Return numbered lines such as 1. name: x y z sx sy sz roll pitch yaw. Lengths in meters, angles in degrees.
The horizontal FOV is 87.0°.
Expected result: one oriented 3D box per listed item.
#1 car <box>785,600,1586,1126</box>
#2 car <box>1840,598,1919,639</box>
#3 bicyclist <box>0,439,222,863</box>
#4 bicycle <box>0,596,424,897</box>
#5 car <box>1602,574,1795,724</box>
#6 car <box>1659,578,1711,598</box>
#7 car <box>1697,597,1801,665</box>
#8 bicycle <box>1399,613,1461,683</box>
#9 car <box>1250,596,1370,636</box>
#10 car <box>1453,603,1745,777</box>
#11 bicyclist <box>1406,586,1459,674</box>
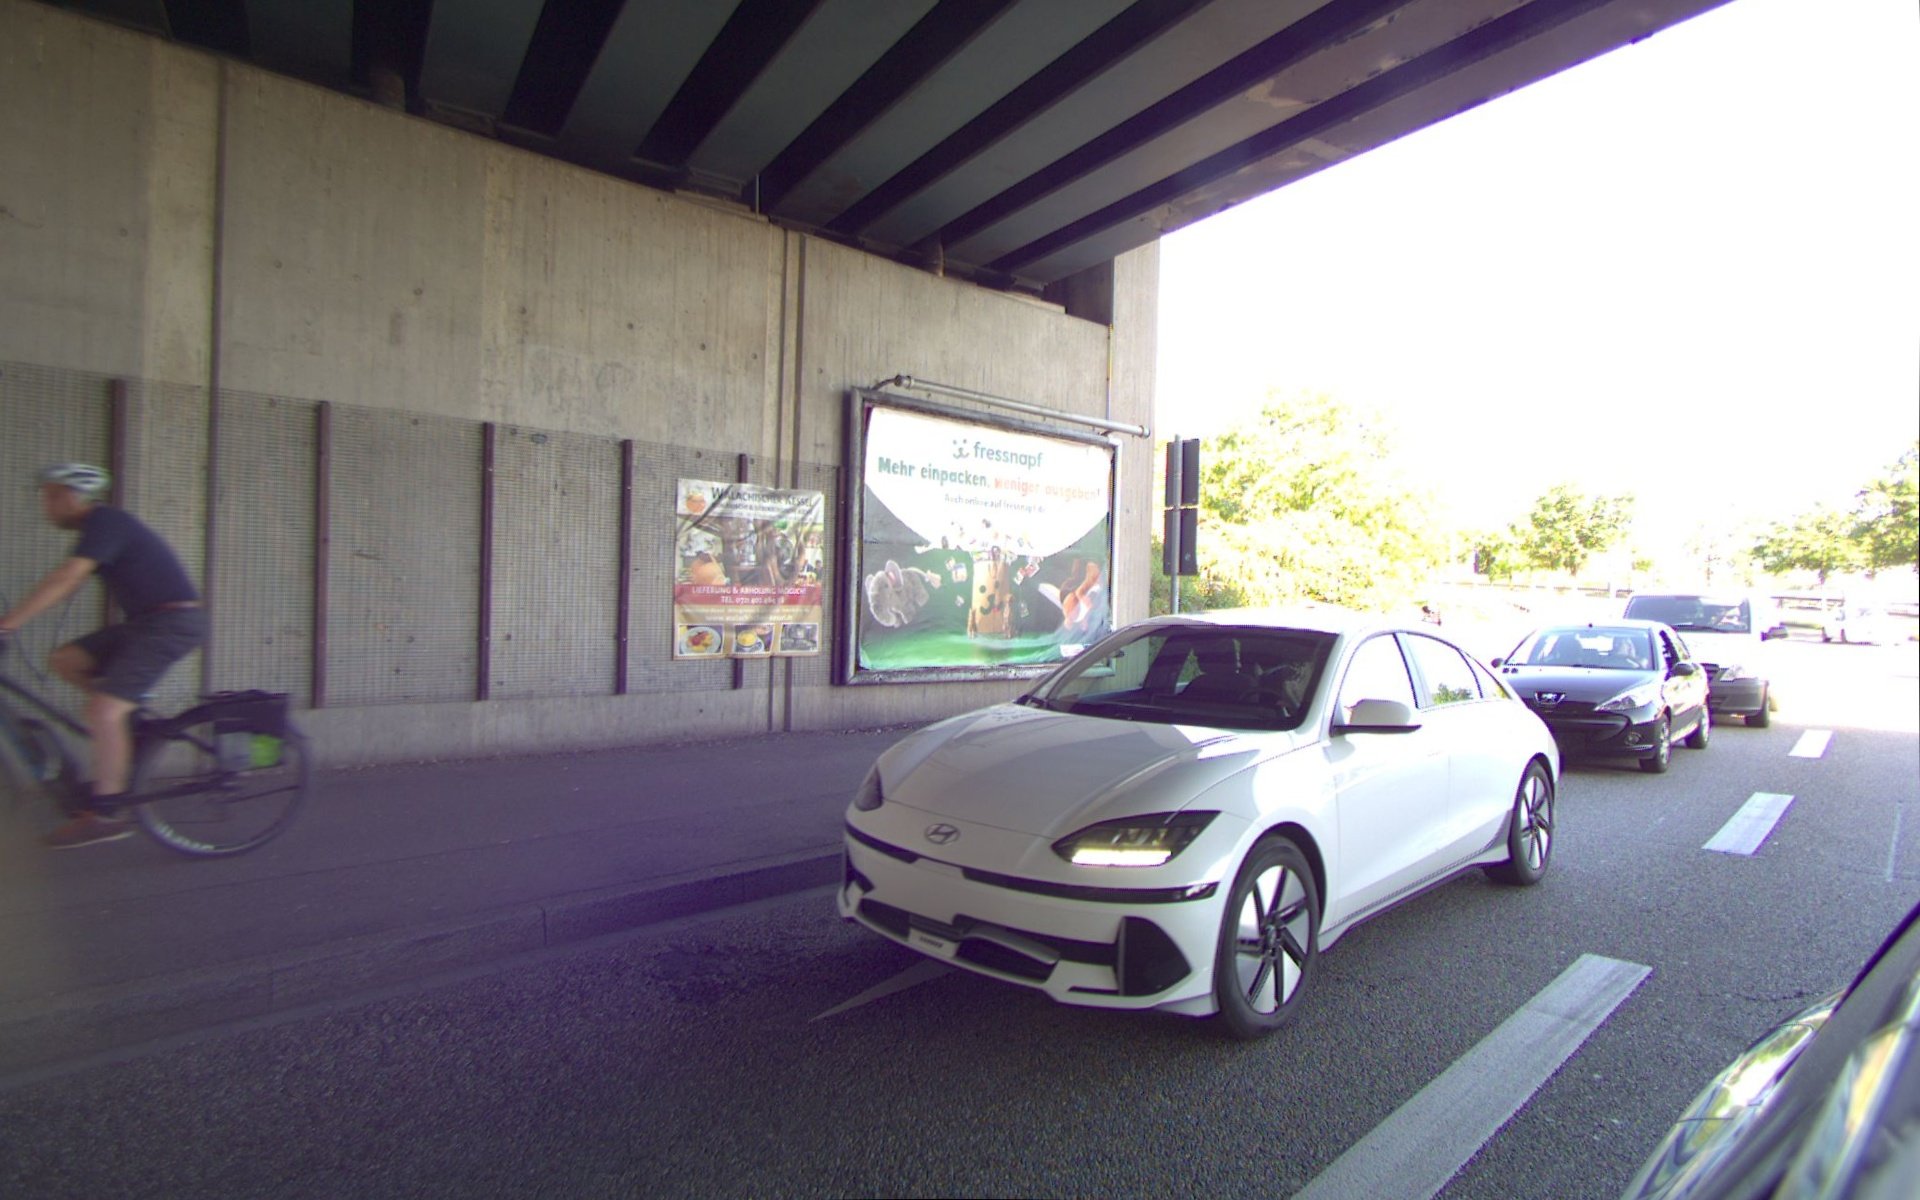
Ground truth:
1. car: 1.524 0.742 5.101 4.587 1.474 1.747 0 0 -44
2. car: 35.453 0.660 39.093 1.726 1.421 3.825 0 1 34
3. bicyclist: -3.839 0.198 4.474 0.871 1.676 0.748 0 0 -41
4. bicycle: -3.841 0.590 4.514 2.426 1.160 0.767 1 2 -42
5. car: 11.075 0.603 15.026 1.896 1.859 4.762 0 0 42
6. car: 62.063 -1.034 86.683 1.775 1.626 4.287 1 1 7
7. car: 20.485 0.721 26.275 1.990 1.570 4.359 0 1 39
8. bicycle: 8.739 0.857 18.775 0.649 1.181 1.755 4 2 36
9. car: 14.563 0.646 42.358 4.459 1.616 1.815 0 0 9
10. car: 6.778 0.780 10.597 3.654 1.474 1.747 0 0 -43
11. bicyclist: 8.783 0.547 18.811 0.651 1.552 0.835 4 2 37
